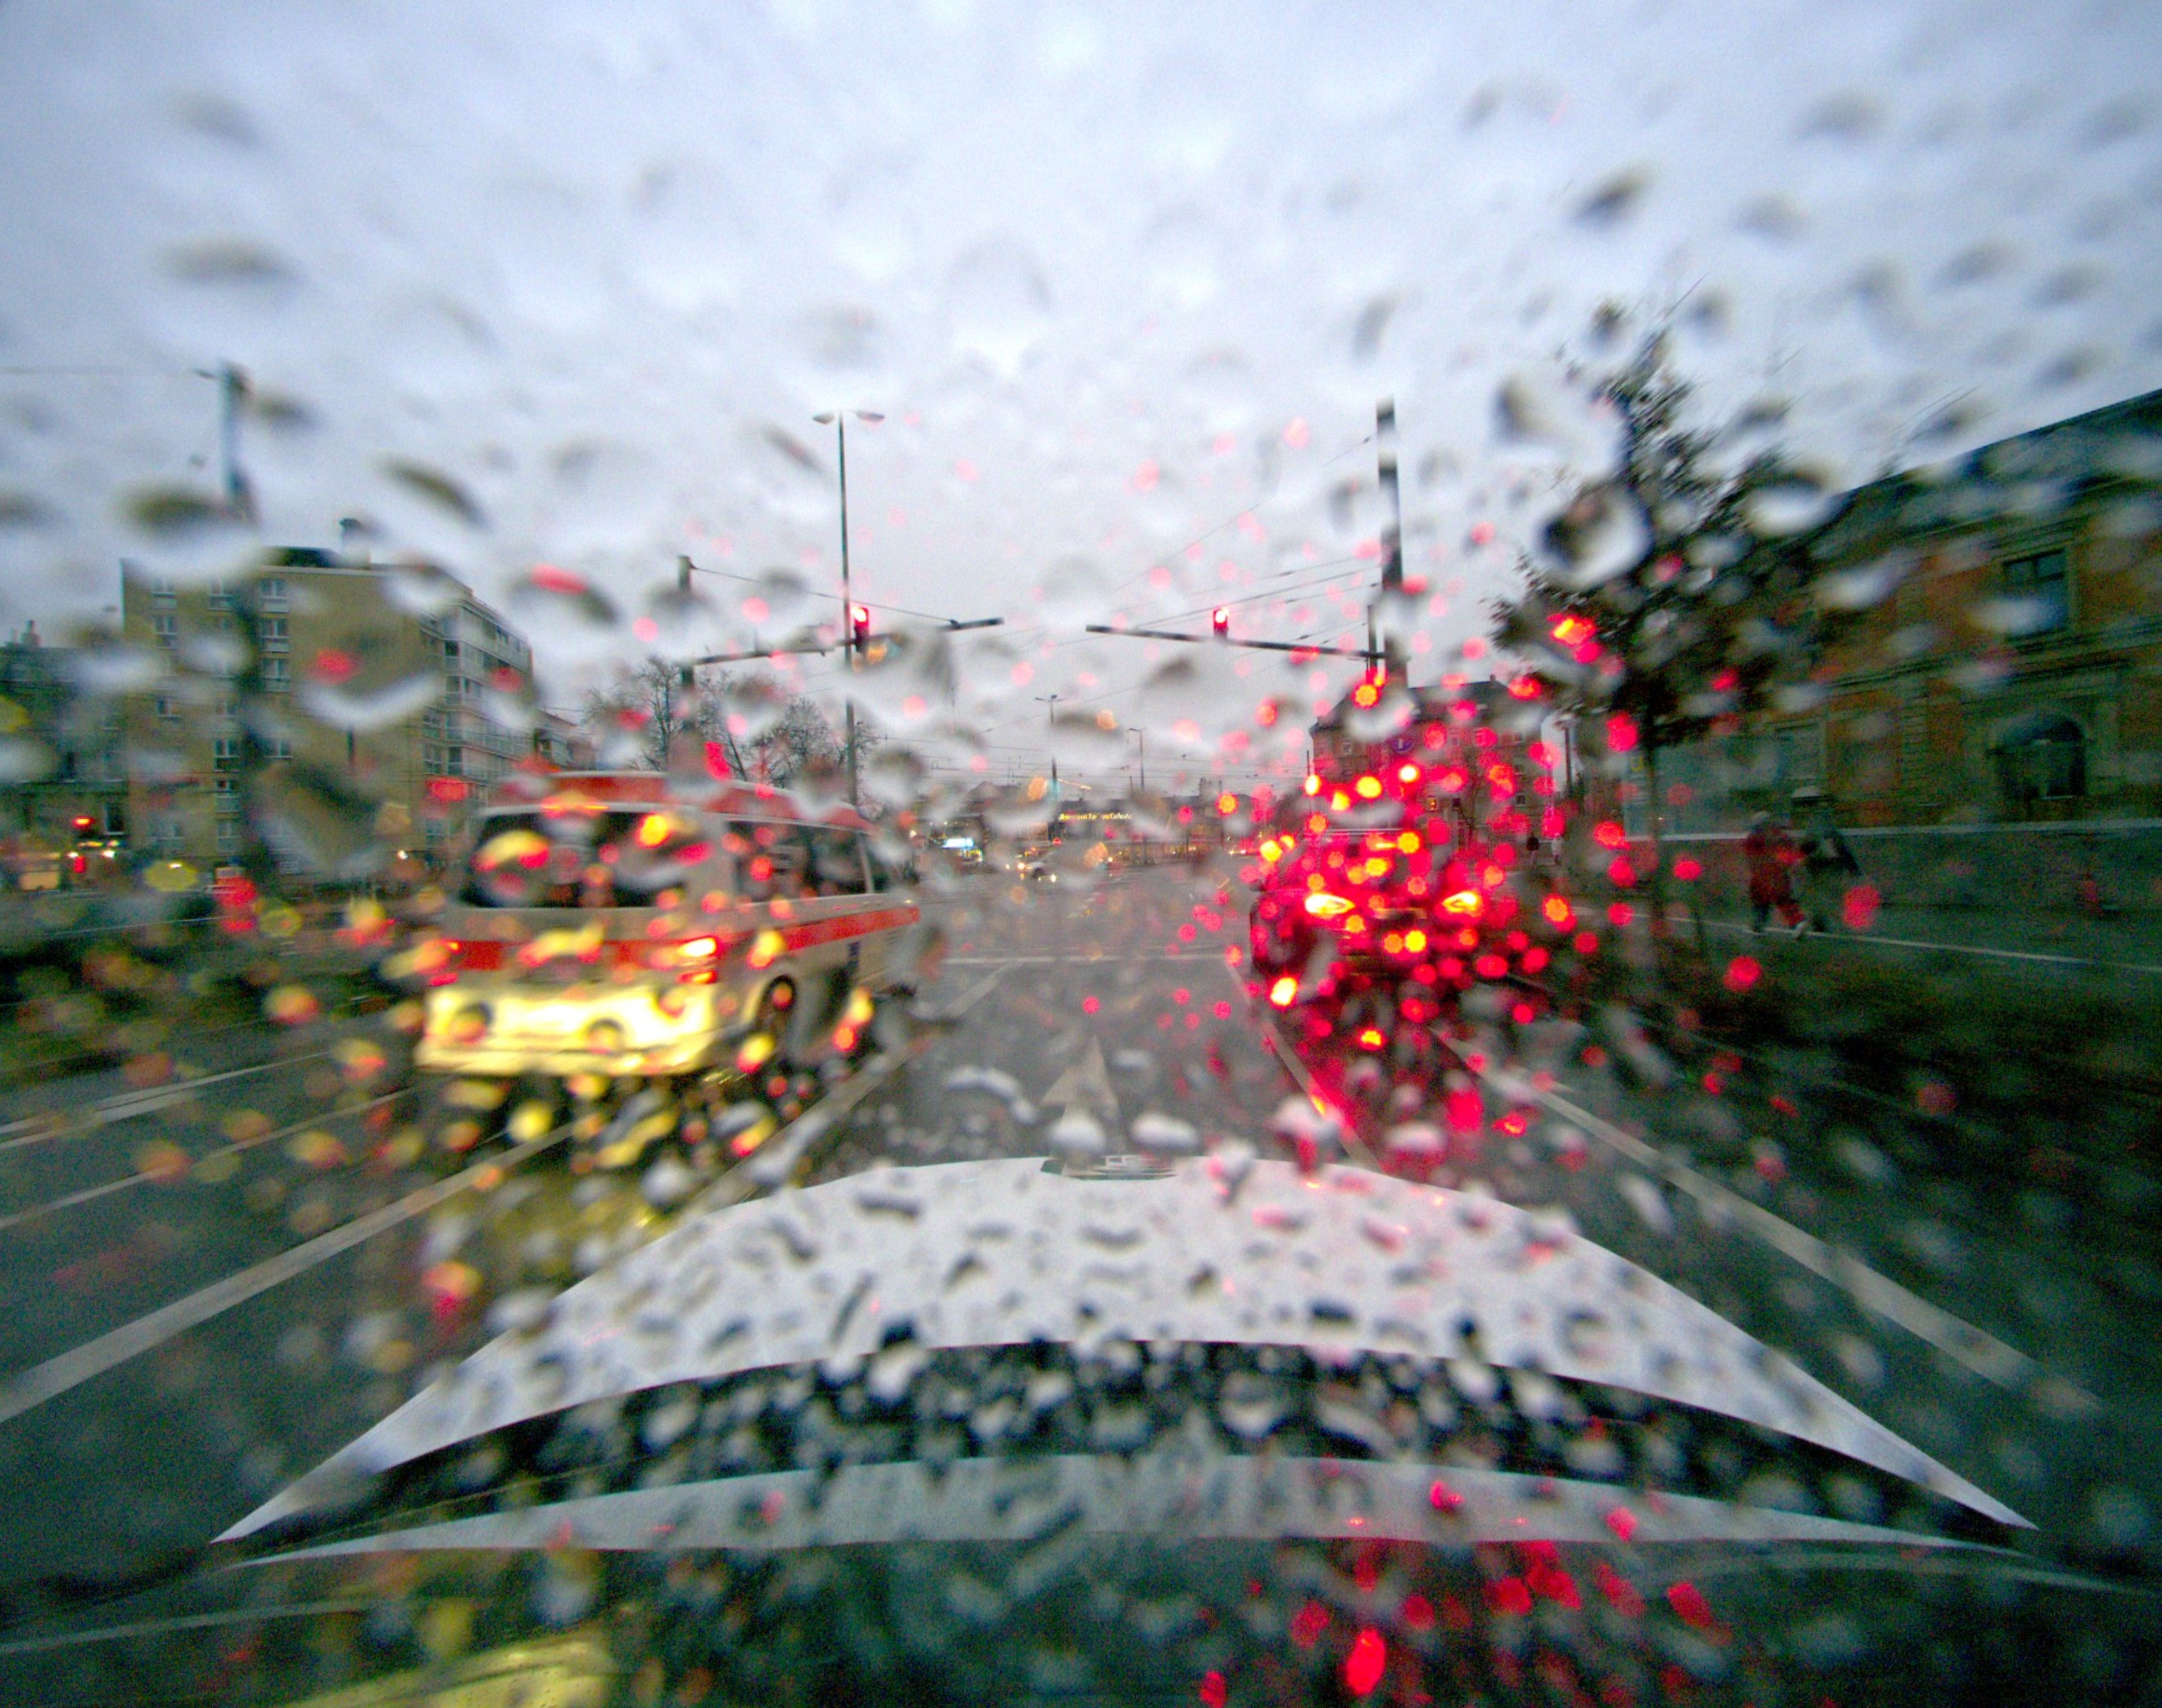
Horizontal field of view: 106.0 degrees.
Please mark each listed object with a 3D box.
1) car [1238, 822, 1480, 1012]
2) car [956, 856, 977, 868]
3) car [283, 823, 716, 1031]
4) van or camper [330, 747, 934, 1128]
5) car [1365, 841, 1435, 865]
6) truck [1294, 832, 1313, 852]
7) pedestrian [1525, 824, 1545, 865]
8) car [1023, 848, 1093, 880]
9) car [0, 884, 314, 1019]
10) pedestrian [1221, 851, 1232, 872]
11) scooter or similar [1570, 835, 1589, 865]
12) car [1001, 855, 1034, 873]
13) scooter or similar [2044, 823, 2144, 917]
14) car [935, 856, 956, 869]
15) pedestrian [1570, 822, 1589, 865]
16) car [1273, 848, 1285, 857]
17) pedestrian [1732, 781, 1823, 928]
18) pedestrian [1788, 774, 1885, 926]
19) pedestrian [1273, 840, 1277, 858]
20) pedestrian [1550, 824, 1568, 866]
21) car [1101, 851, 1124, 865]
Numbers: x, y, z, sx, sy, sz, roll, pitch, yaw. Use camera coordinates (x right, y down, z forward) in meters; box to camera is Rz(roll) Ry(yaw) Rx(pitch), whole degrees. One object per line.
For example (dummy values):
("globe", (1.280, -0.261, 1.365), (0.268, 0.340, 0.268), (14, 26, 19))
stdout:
("car", (3.085, 0.594, 10.028), (1.769, 1.800, 4.430), (-1, 0, 5))
("car", (-15.350, 1.074, 109.507), (1.854, 1.601, 4.005), (-2, 0, 4))
("car", (-5.978, 0.644, 9.110), (1.878, 1.772, 4.001), (-1, 0, 1))
("van or camper", (-2.991, 0.480, 7.056), (2.192, 2.109, 4.992), (-1, 0, 4))
("car", (24.415, -0.075, 62.433), (4.801, 1.657, 1.733), (-2, -1, -12))
("truck", (31.154, -1.621, 113.817), (1.977, 2.691, 5.141), (-3, 0, 20))
("pedestrian", (21.834, -0.452, 39.152), (0.669, 1.950, 0.681), (-3, -1, 39))
("car", (-1.593, 0.688, 55.098), (4.409, 2.014, 1.901), (0, -4, -15))
("car", (-13.130, 1.185, 10.524), (1.799, 1.419, 4.823), (-1, -1, 1))
("pedestrian", (12.584, 0.641, 70.407), (0.595, 1.840, 0.613), (-2, -1, -32))
("scooter or similar", (22.766, -0.192, 37.169), (0.669, 1.317, 0.832), (-3, -1, 32))
("car", (-5.553, 0.853, 71.607), (1.801, 1.446, 4.013), (-2, 0, 12))
("scooter or similar", (13.934, 0.207, 11.236), (0.507, 1.213, 1.392), (-3, -1, 37))
("car", (-18.250, 1.153, 109.846), (1.854, 1.601, 4.005), (-2, 0, 4))
("pedestrian", (23.147, -0.502, 37.819), (0.669, 1.950, 0.666), (-3, -1, 32))
("car", (39.440, -0.345, 162.077), (1.846, 1.601, 3.806), (-2, 0, 21))
("pedestrian", (9.546, -0.004, 11.200), (0.800, 1.929, 0.765), (-1, 2, 27))
("pedestrian", (10.446, -0.063, 11.296), (0.800, 2.013, 0.765), (-1, 2, 27))
("pedestrian", (22.726, -0.569, 95.274), (0.341, 2.013, 0.420), (-3, -1, 18))
("pedestrian", (22.431, -0.431, 38.221), (0.669, 1.950, 0.666), (-3, -1, 31))
("car", (3.438, 0.424, 89.273), (1.801, 1.446, 4.013), (-2, 0, 12))
